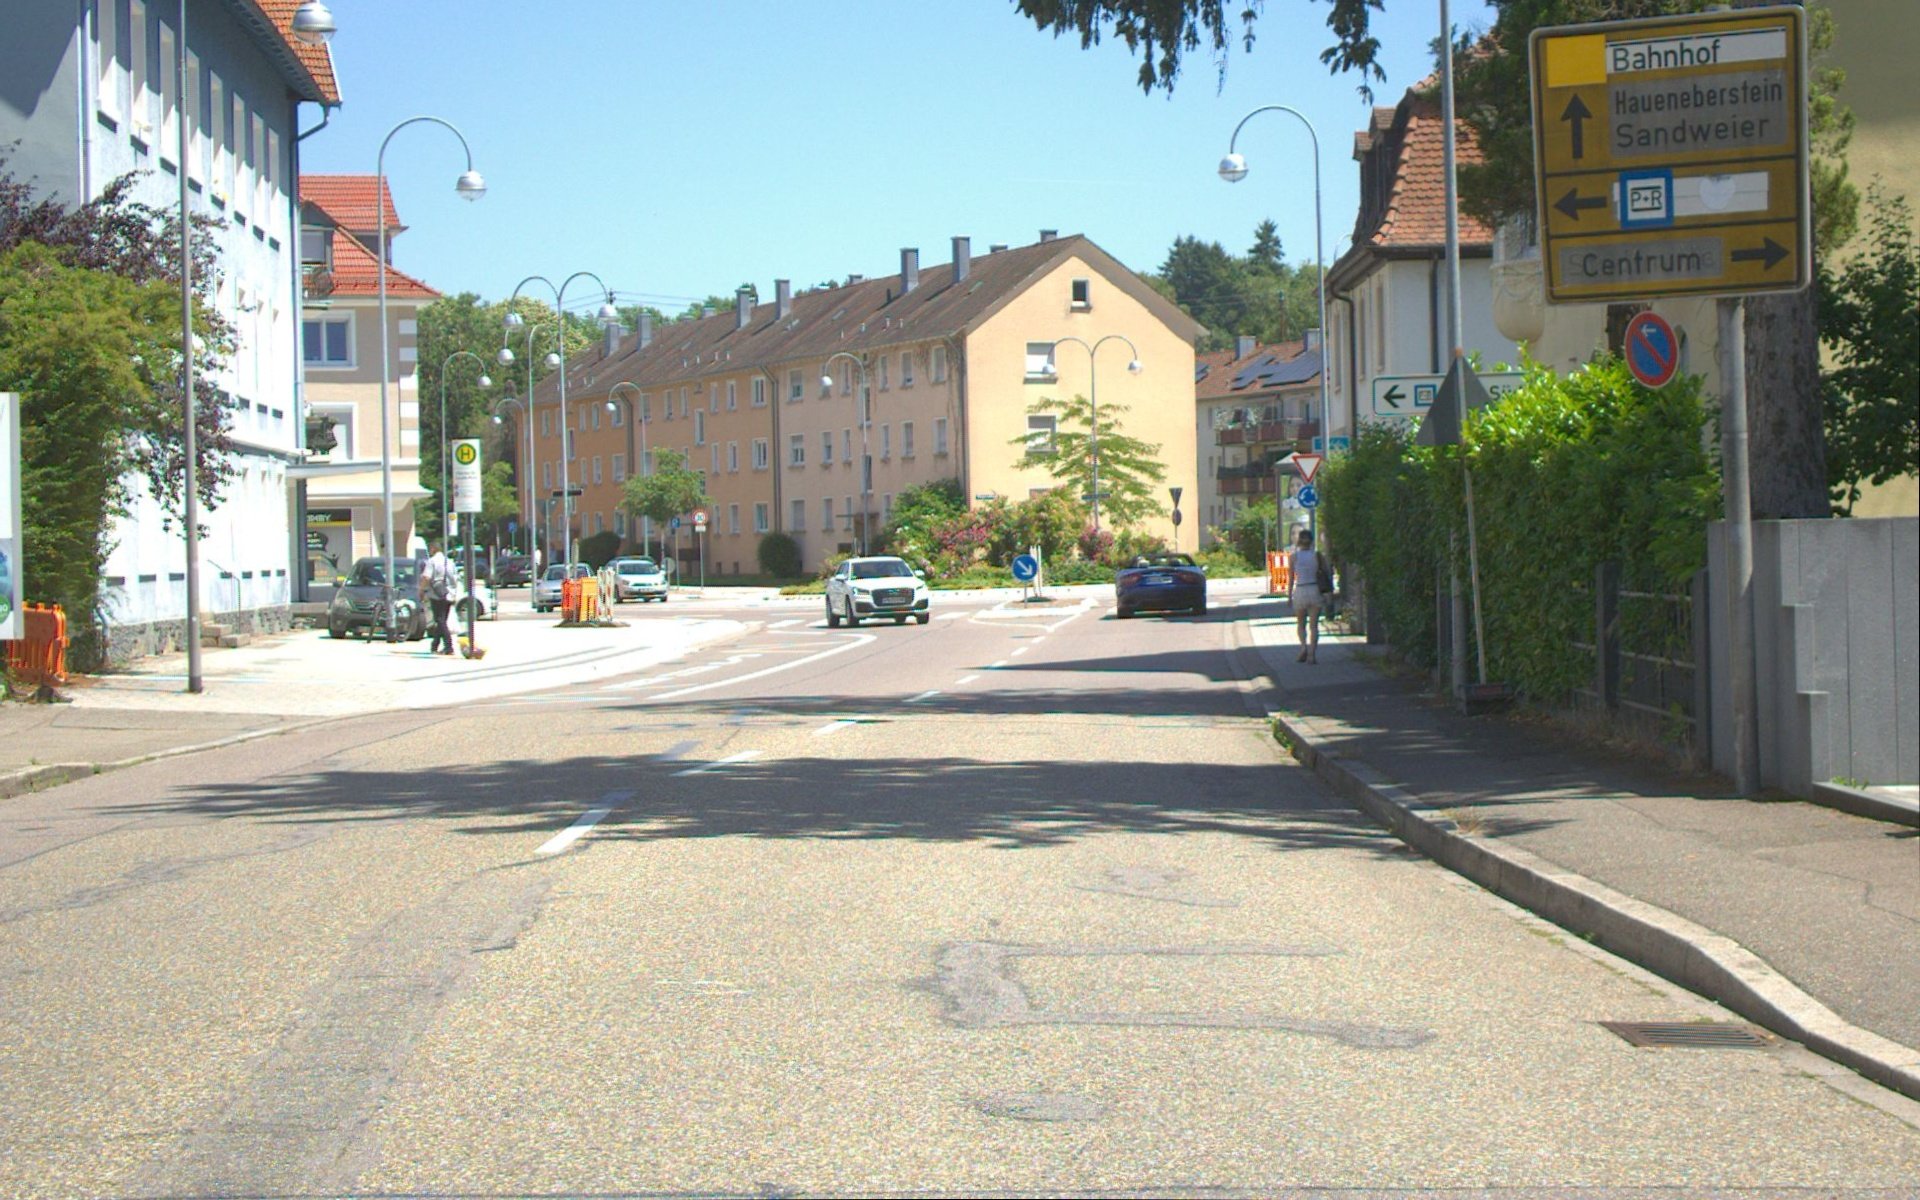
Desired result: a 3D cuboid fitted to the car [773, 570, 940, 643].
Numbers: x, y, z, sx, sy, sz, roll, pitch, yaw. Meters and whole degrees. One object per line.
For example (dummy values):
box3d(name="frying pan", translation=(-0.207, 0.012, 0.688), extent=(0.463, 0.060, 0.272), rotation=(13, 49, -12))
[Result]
box3d(name="car", translation=(-2.332, 0.150, 76.409), extent=(1.821, 1.525, 3.949), rotation=(-1, -1, -35))

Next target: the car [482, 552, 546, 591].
box3d(name="car", translation=(-20.660, -1.316, 159.192), extent=(1.812, 1.788, 4.001), rotation=(0, 0, -25))

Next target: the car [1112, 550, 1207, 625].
box3d(name="car", translation=(4.245, -0.241, 73.702), extent=(1.871, 1.525, 4.506), rotation=(-1, -1, 2))

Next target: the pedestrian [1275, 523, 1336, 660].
box3d(name="pedestrian", translation=(4.222, -0.103, 42.073), extent=(0.623, 1.638, 0.772), rotation=(-2, 0, 1))

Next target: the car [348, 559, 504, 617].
box3d(name="car", translation=(-14.357, -0.328, 92.566), extent=(4.114, 1.545, 1.788), rotation=(0, 0, -8))

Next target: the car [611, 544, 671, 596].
box3d(name="car", translation=(-10.987, -1.028, 118.239), extent=(1.781, 1.741, 4.129), rotation=(0, 0, -9))

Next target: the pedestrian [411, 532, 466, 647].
box3d(name="pedestrian", translation=(-8.466, -0.173, 55.833), extent=(0.755, 1.842, 0.772), rotation=(2, 0, -4))

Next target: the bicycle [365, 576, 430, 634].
box3d(name="bicycle", translation=(-9.859, 0.085, 60.276), extent=(0.496, 0.974, 1.972), rotation=(3, 0, 8))

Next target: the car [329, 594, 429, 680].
box3d(name="car", translation=(-10.831, 0.694, 64.221), extent=(1.577, 1.529, 3.776), rotation=(-1, -1, -6))
